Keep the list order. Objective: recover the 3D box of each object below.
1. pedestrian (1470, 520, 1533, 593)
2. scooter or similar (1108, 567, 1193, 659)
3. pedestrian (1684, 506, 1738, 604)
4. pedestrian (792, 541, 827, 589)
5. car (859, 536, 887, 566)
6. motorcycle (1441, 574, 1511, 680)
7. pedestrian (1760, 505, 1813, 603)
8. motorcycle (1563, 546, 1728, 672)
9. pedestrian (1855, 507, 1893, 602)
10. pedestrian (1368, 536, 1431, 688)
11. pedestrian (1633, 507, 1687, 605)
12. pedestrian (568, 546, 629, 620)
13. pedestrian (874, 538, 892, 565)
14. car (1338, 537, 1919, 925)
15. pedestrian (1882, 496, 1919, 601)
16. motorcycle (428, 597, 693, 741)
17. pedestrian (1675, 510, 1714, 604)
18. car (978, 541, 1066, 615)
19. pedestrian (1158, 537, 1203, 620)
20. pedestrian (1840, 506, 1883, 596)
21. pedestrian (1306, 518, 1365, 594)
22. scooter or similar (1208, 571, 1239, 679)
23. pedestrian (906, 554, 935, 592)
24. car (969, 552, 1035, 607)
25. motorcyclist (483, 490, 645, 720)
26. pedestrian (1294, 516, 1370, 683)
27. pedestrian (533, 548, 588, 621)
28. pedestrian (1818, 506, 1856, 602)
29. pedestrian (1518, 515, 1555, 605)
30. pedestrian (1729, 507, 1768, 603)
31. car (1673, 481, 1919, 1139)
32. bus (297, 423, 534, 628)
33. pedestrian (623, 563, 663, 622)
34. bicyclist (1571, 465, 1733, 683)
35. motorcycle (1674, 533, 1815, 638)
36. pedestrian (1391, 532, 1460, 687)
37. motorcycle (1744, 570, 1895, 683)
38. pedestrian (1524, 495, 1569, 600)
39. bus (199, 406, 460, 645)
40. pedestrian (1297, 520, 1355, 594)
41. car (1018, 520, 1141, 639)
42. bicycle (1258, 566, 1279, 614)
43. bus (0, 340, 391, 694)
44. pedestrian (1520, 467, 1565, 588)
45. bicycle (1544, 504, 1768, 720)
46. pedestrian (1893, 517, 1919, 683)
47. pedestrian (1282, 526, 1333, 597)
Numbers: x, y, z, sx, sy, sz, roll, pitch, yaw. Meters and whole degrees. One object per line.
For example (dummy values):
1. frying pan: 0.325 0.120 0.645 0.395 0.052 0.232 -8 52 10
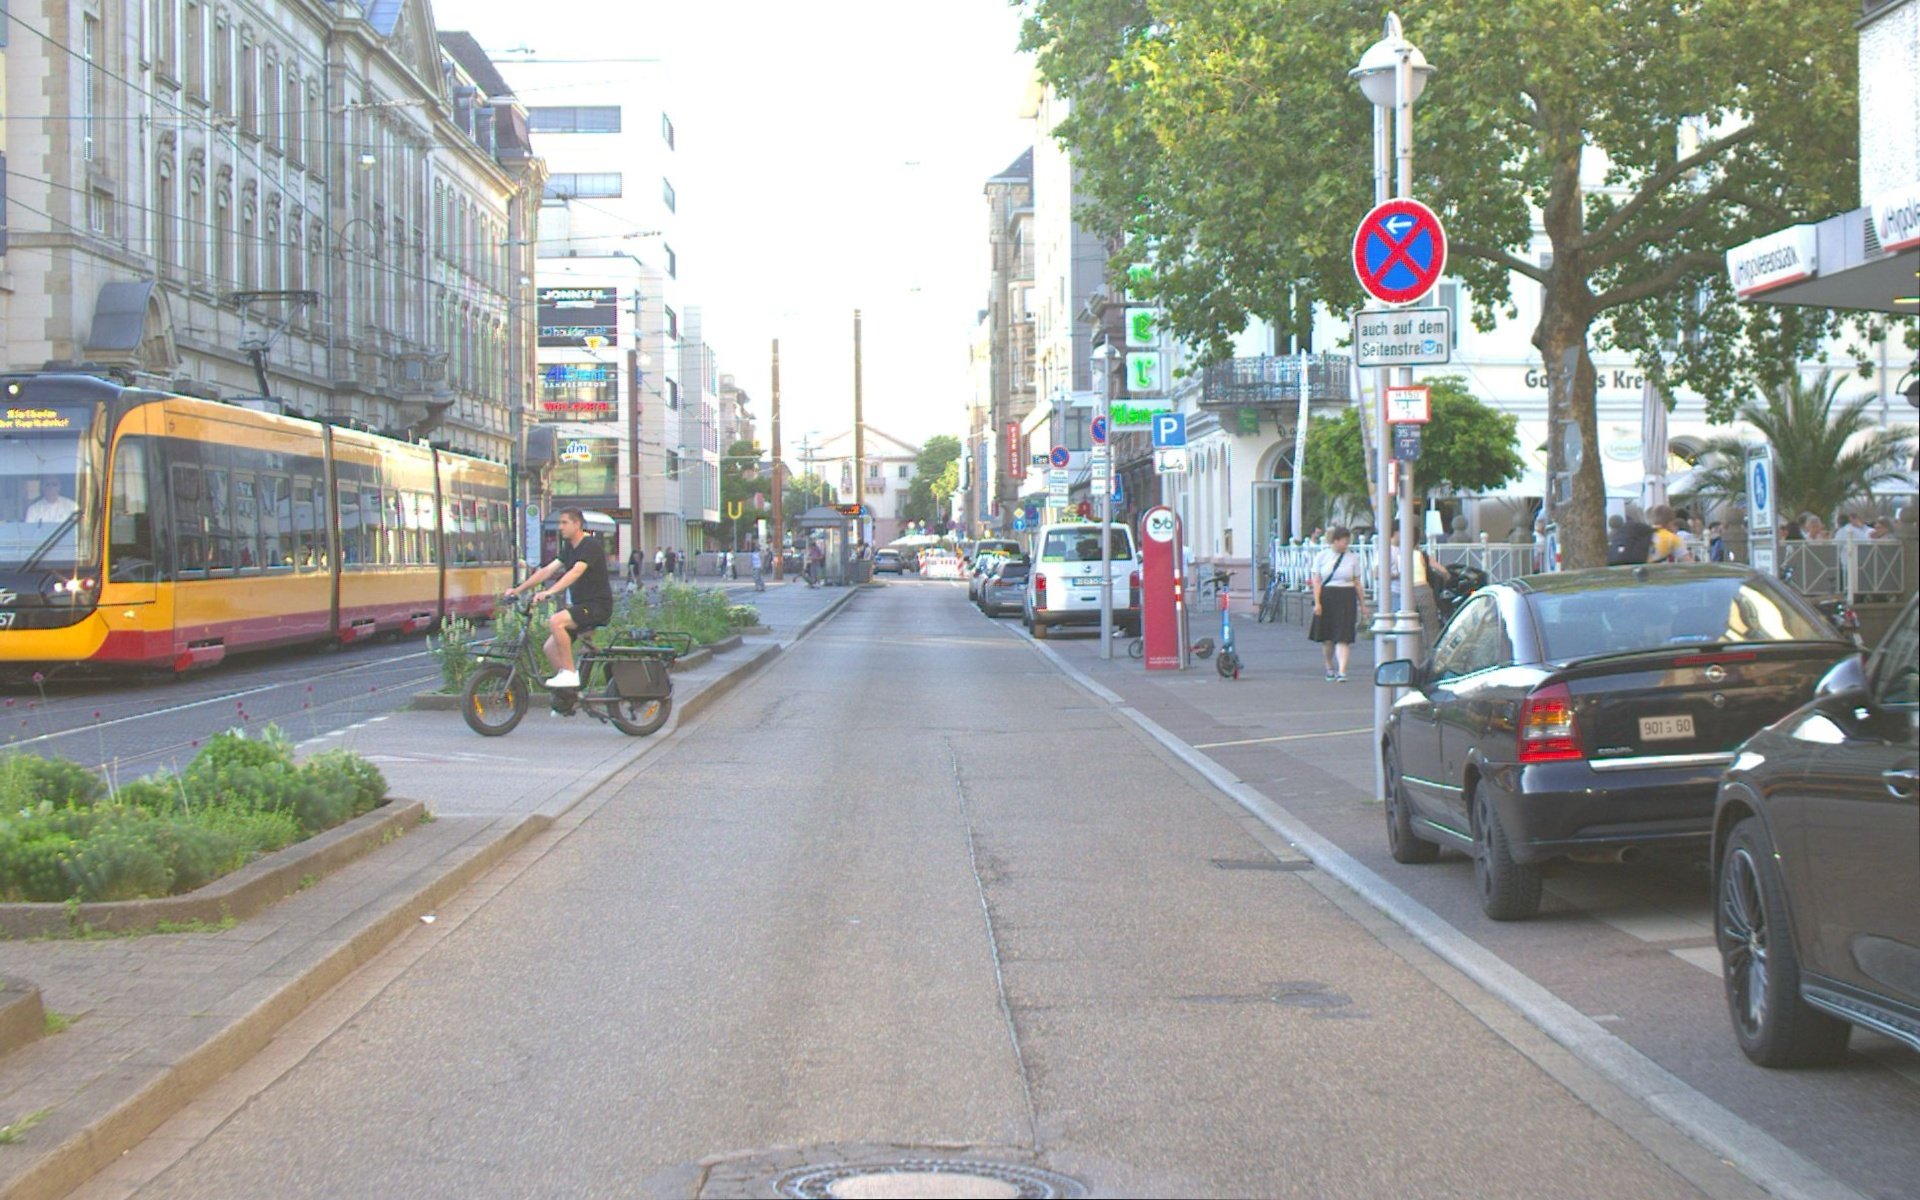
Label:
1. pedestrian: 9.663 -0.768 61.374 0.963 1.262 0.905 -1 -1 -1
2. scooter or similar: 2.609 0.177 47.141 1.125 1.212 0.300 -2 0 1
3. pedestrian: 9.994 -0.596 45.757 0.645 1.280 0.740 -1 -1 15
4. pedestrian: -5.410 -1.252 123.667 1.049 1.680 0.908 -1 -1 11
5. car: -5.715 -3.206 225.760 1.760 1.821 3.570 -1 -1 -1
6. motorcycle: 5.828 0.291 38.897 0.455 1.154 2.031 0 1 -1
7. pedestrian: 11.023 -0.608 45.863 0.645 1.280 0.740 -1 -1 15
8. motorcycle: 7.883 0.083 39.625 0.564 1.418 2.297 0 1 -27
9. pedestrian: 12.513 -0.625 47.064 0.474 1.280 0.539 -1 -1 15
10. pedestrian: 5.000 0.139 39.141 0.614 1.711 0.662 -1 -1 1
11. pedestrian: 9.366 -0.581 45.998 0.645 1.280 0.740 -1 -1 15
12. pedestrian: -7.511 -0.355 71.414 0.718 1.509 1.035 -2 -1 43
13. pedestrian: -5.018 -3.134 224.125 0.782 1.728 0.811 -1 -1 40
14. car: 2.827 0.468 15.348 1.655 1.375 4.341 -4 1 -1
15. pedestrian: 12.626 -0.683 46.101 0.474 1.395 0.539 -1 -1 15
16. motorcycle: -3.209 0.547 27.695 2.043 1.120 0.568 0 -1 -27
17. pedestrian: 10.102 -0.589 47.253 0.474 1.280 0.539 -1 -1 15
18. car: 1.510 -0.555 84.971 1.993 1.755 4.421 -1 0 -1
19. pedestrian: 4.723 -0.458 73.706 0.786 1.745 0.895 -1 -1 -8
20. pedestrian: 12.990 -0.699 49.534 0.538 1.280 0.475 -1 -1 9
21. pedestrian: 6.651 -0.781 61.006 0.902 1.309 0.967 -1 -1 -1
22. scooter or similar: 3.030 0.277 39.473 0.315 1.217 1.272 0 1 6
23. pedestrian: -2.026 -1.364 175.124 1.229 1.922 1.022 0 1 -16
24. car: 1.327 -0.648 111.100 1.993 1.661 4.421 -1 -1 -1
25. motorcyclist: -3.195 0.044 27.704 1.001 1.807 0.960 0 -1 -27
26. pedestrian: 4.116 -0.008 38.060 0.714 1.797 0.824 -2 0 2
27. pedestrian: -8.348 -0.317 71.855 0.758 1.509 0.861 -1 -1 43
28. pedestrian: 11.844 -0.613 46.437 0.474 1.280 0.539 -1 -1 15
29. pedestrian: 8.364 -0.574 49.834 0.474 1.280 0.539 -1 -1 14
30. pedestrian: 10.744 -0.607 46.818 0.474 1.280 0.539 -1 -1 15
31. car: 3.142 0.488 8.350 1.775 1.533 4.579 -1 2 -1
32. bus: -10.370 -1.327 66.770 2.822 3.600 11.823 -1 0 -1
33. pedestrian: -9.175 -0.227 99.488 1.048 1.680 0.908 0 1 -10
34. bicyclist: 5.755 -0.220 28.583 0.930 1.770 0.970 -1 1 -45
35. motorcycle: 9.103 -0.183 39.960 0.550 1.147 1.798 0 2 -27
36. pedestrian: 5.195 0.111 38.369 0.678 1.711 0.654 -1 -1 2
37. motorcycle: 9.992 0.291 40.020 0.560 1.277 1.958 0 1 -27
38. pedestrian: 8.903 -0.794 52.170 0.619 1.566 0.630 -1 -1 14
39. bus: -10.238 -1.215 56.690 2.822 3.612 8.290 -1 1 -1
40. pedestrian: 6.593 -0.770 62.038 0.902 1.301 0.967 -1 -1 -1
41. car: 2.049 -0.365 60.147 1.915 1.975 4.421 -1 1 -1
42. bicycle: 5.930 -0.185 66.179 0.250 0.899 1.374 -1 -1 -1
43. bus: -10.045 -0.992 44.018 2.822 3.639 17.074 -1 1 -1
44. pedestrian: 11.157 -1.376 65.871 0.612 2.296 0.581 0 -1 -22
45. bicycle: 5.810 0.080 28.598 2.362 1.734 0.602 -1 1 -44
46. pedestrian: 10.402 0.000 36.349 0.821 1.735 0.658 0 -1 -39
47. pedestrian: 6.510 -0.714 64.455 0.822 1.301 0.870 -1 -1 -1
